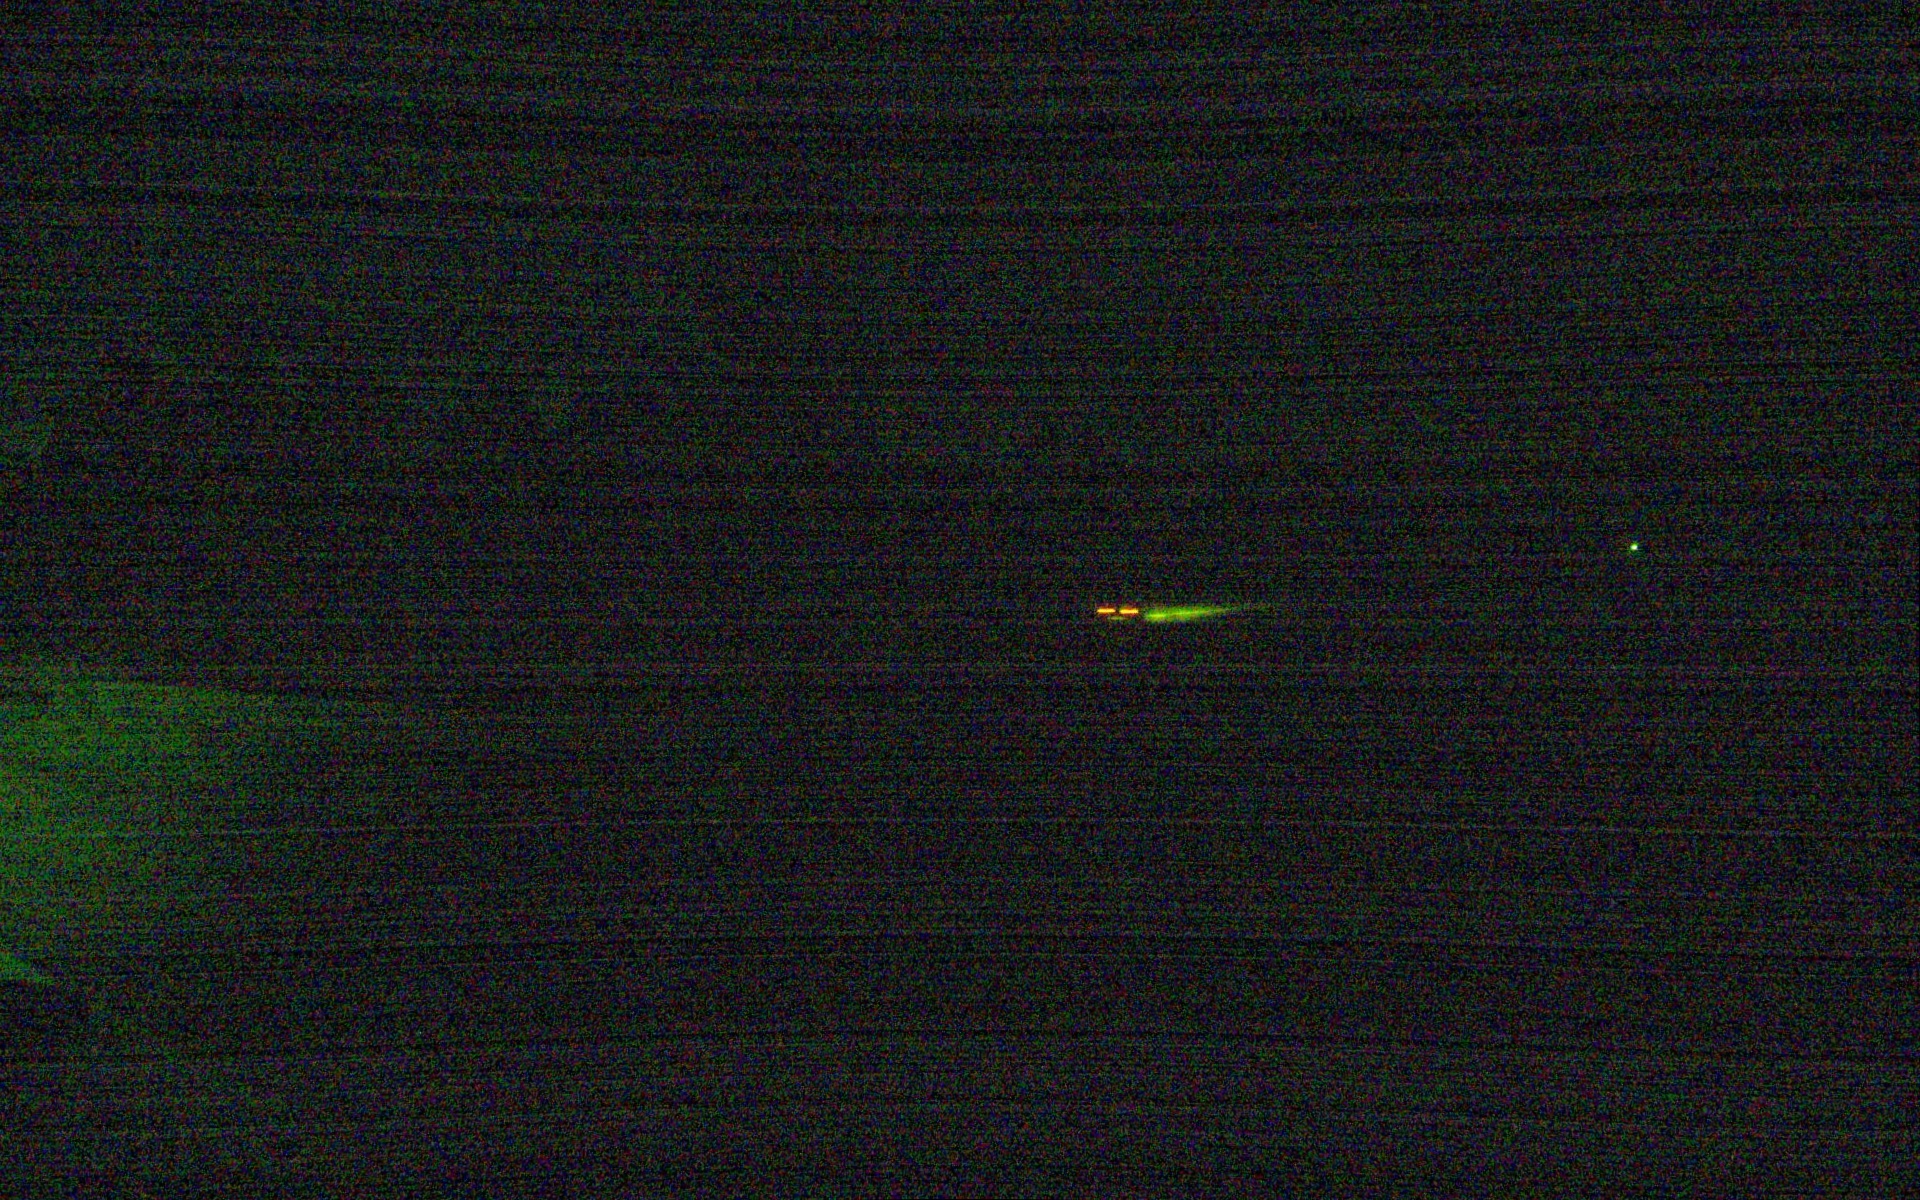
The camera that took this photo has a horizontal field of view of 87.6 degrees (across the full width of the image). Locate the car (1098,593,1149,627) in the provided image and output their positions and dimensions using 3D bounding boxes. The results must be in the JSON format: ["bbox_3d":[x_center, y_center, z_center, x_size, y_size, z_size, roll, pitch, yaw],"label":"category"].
[{"bbox_3d":[9.346,0.566,56.883,1.906,1.839,4.252,0,0,23],"label":"car"}]
